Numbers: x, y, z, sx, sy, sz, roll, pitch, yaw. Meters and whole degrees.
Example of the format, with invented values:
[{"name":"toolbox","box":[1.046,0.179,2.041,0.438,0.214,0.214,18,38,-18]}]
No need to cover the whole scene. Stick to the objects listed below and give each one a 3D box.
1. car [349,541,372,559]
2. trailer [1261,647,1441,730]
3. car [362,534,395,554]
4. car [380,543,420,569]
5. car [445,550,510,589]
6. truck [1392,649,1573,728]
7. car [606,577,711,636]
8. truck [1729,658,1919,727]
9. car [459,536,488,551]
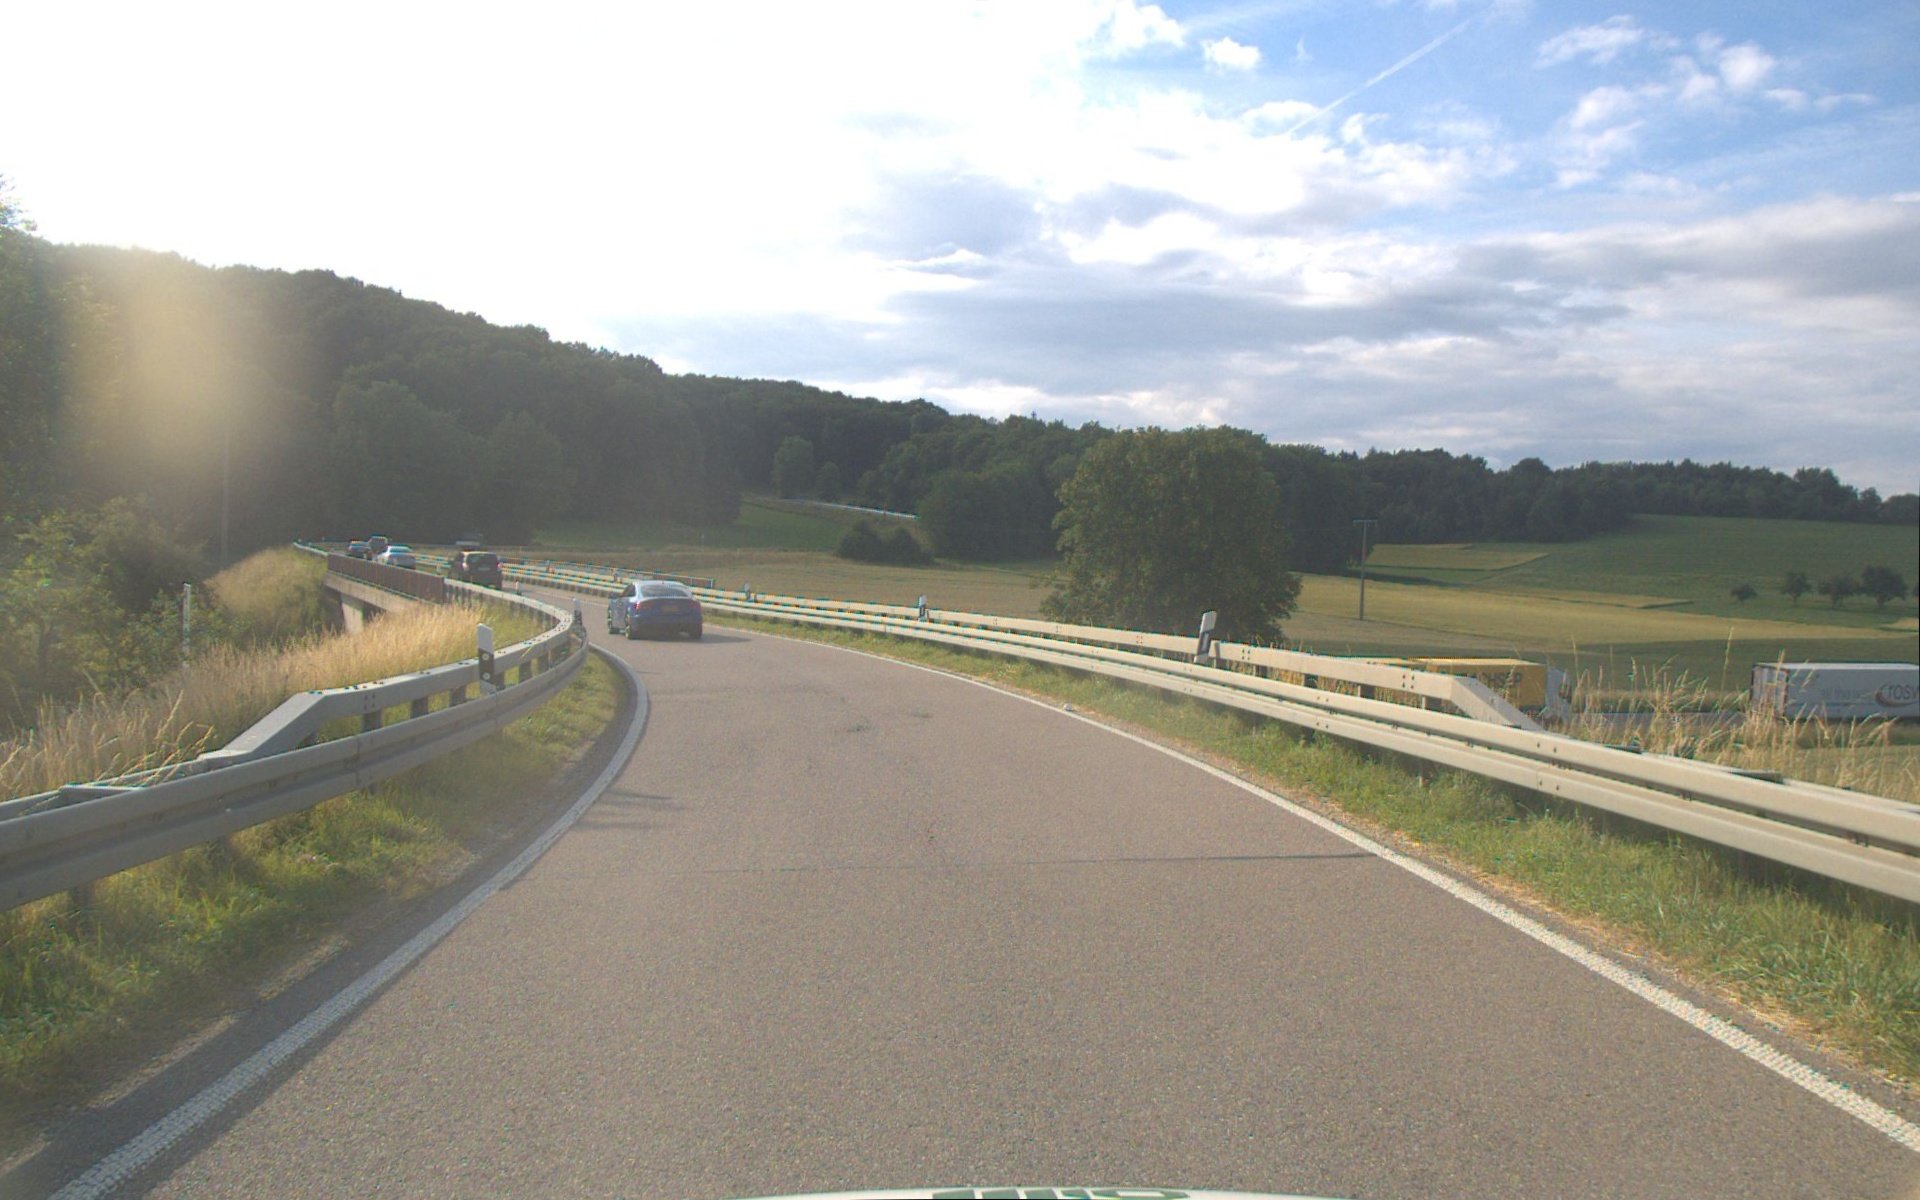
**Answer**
[{"name":"car","box":[-43.450,-3.620,119.905,1.448,1.248,3.284,2,2,-18]},{"name":"trailer","box":[20.929,4.688,88.493,8.984,4.131,3.807,1,-1,-25]},{"name":"car","box":[-57.127,-5.505,162.552,1.955,1.708,4.174,3,0,-5]},{"name":"car","box":[-33.157,-2.614,97.874,1.662,1.400,3.965,1,1,-27]},{"name":"car","box":[-21.246,-1.366,72.691,1.842,1.596,3.960,2,1,-30]},{"name":"truck","box":[29.236,4.900,92.495,9.646,4.131,3.807,1,-1,-25]},{"name":"car","box":[-7.539,0.125,41.085,1.793,1.362,4.322,-1,1,-21]},{"name":"truck","box":[54.578,5.613,102.350,14.172,4.067,4.053,1,-2,-22]},{"name":"car","box":[-58.007,-6.735,197.192,1.951,1.802,4.003,-1,1,5]}]
